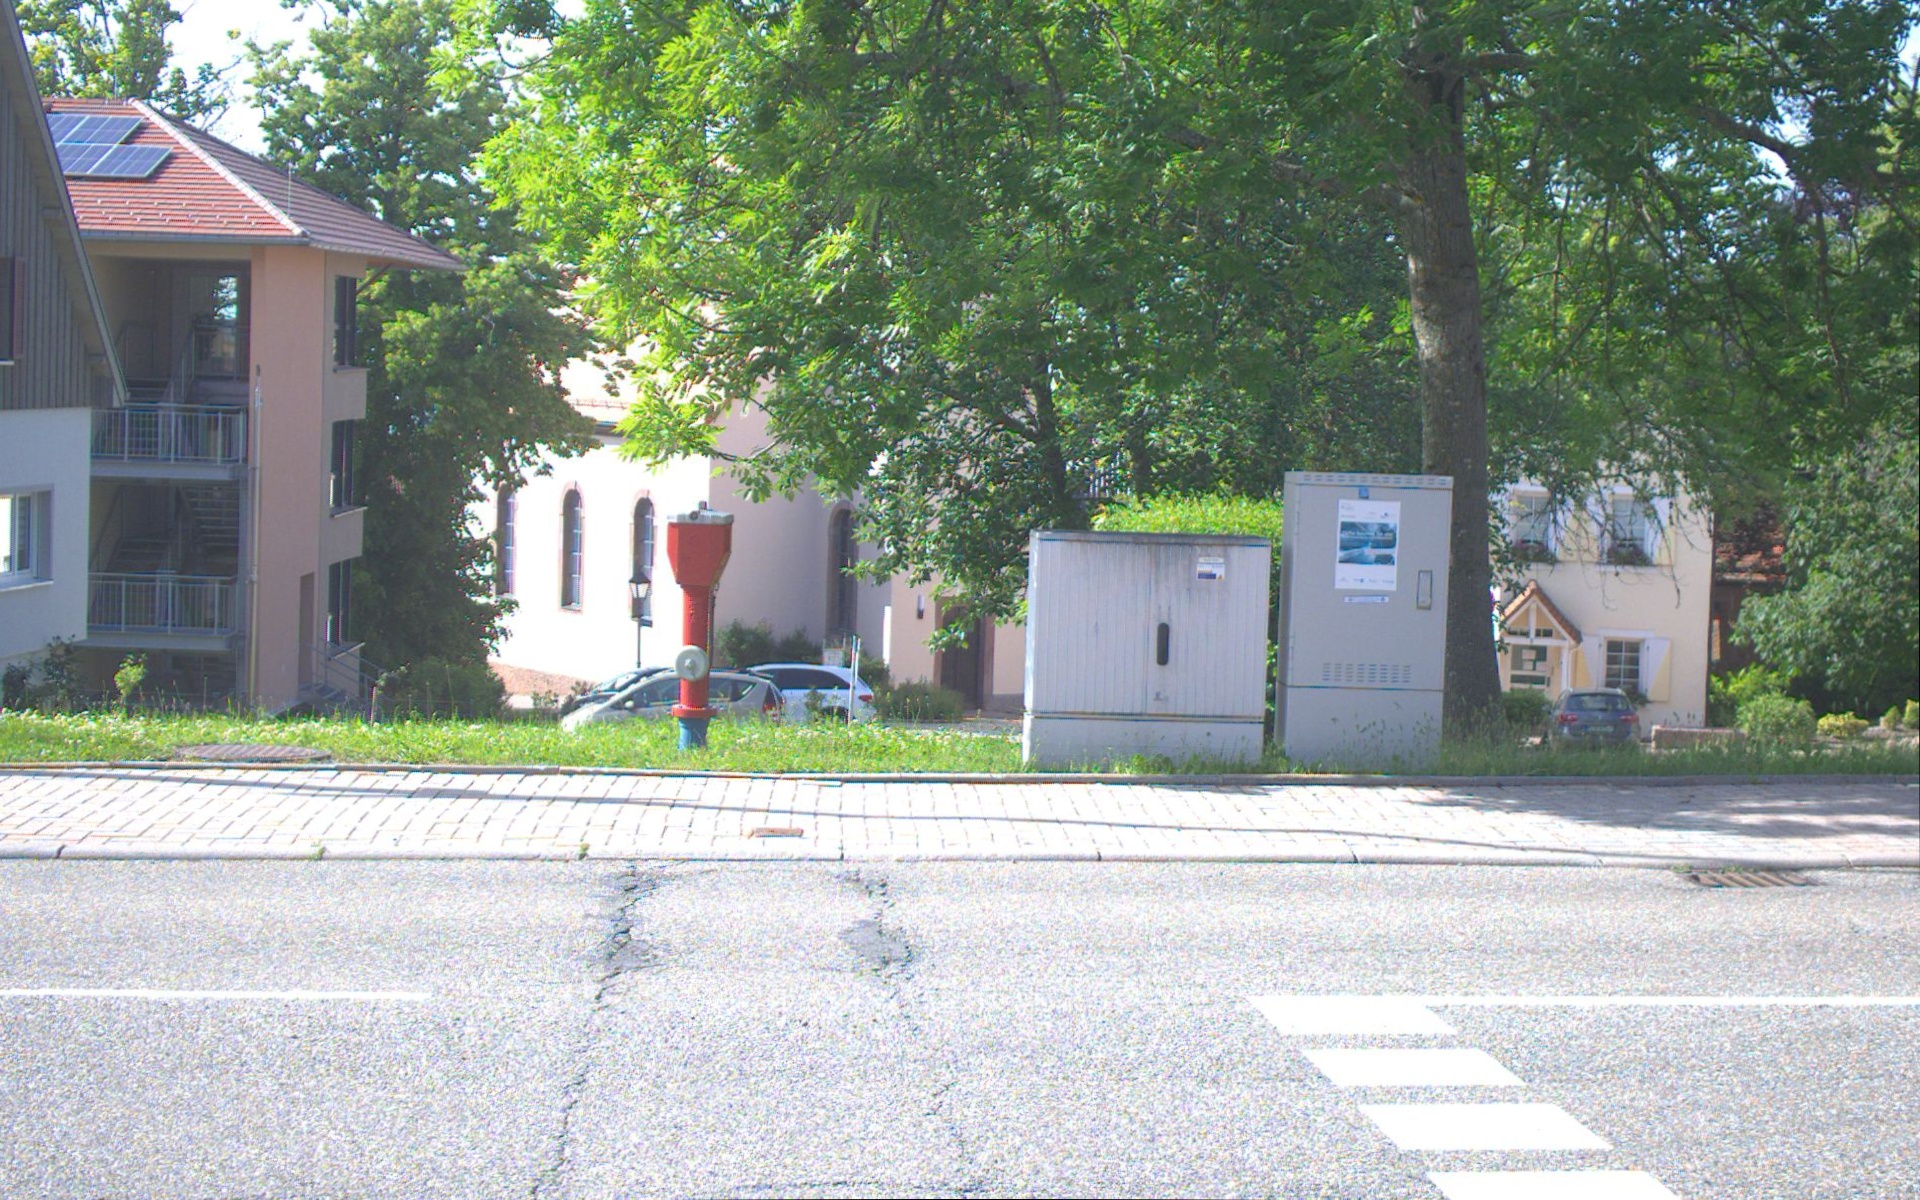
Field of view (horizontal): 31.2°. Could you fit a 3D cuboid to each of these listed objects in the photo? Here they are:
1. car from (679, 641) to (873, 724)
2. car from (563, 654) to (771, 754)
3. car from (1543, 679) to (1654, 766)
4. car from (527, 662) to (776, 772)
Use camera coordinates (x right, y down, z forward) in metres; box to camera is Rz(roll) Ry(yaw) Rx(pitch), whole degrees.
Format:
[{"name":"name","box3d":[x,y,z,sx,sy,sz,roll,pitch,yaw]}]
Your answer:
[{"name":"car","box3d":[-3.685,1.636,68.496,3.772,1.588,1.714,1,0,-6]},{"name":"car","box3d":[-5.420,1.909,63.475,3.772,1.752,1.714,1,0,-6]},{"name":"car","box3d":[12.577,2.393,67.910,1.708,1.536,3.785,0,0,4]},{"name":"car","box3d":[-5.165,1.947,57.650,4.089,1.752,1.714,1,0,-5]}]
